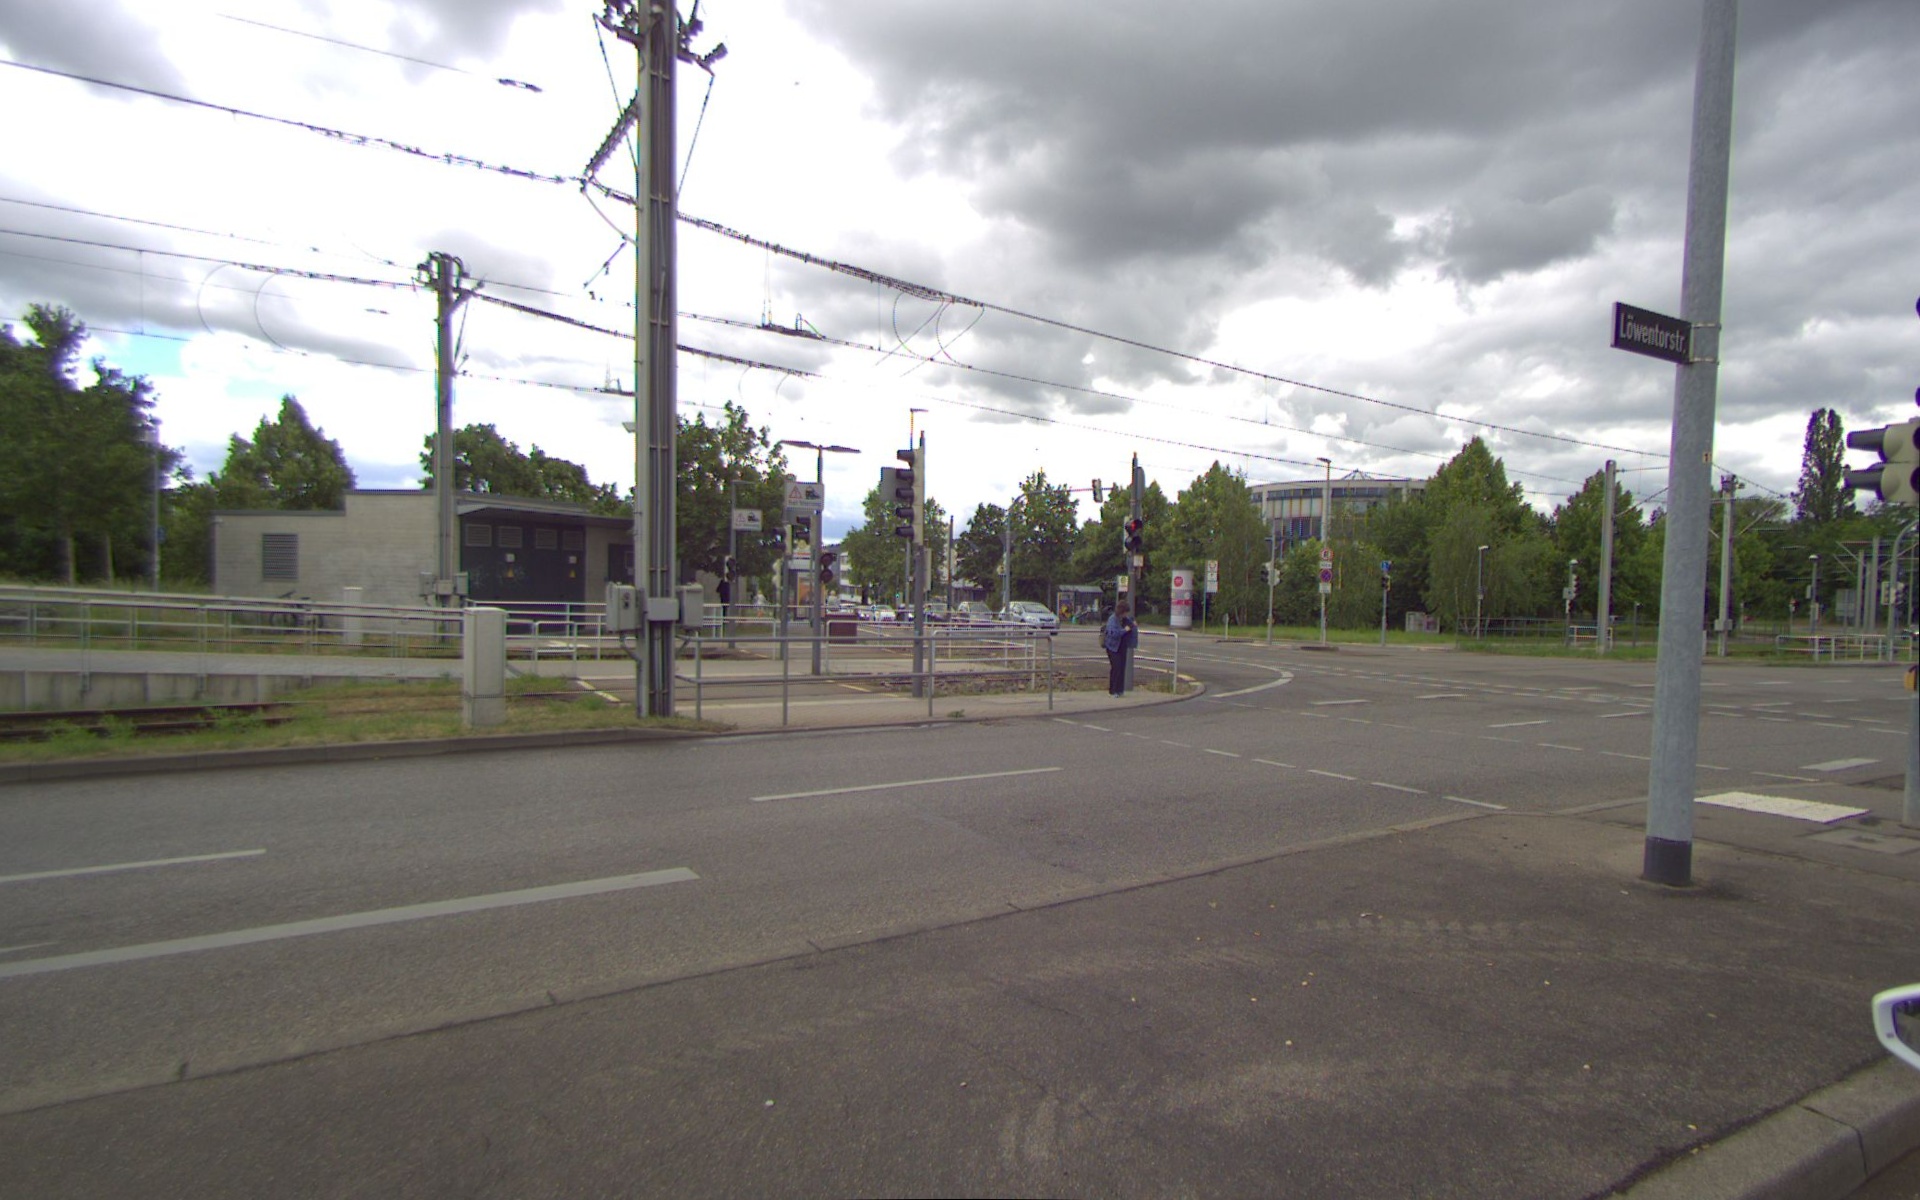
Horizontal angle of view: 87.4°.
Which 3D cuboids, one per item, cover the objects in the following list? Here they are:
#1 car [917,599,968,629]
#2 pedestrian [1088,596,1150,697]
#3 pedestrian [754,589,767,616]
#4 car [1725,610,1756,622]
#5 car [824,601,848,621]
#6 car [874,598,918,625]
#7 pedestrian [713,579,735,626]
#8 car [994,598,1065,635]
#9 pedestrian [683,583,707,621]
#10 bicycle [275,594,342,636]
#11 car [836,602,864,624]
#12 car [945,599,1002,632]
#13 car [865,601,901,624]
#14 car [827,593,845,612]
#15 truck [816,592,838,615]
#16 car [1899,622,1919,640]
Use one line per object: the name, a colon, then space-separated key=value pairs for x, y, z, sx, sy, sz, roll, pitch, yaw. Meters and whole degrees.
car: x=-1.060 y=0.762 z=58.049 sx=1.776 sy=1.617 sz=3.982 roll=2 pitch=0 yaw=-20
pedestrian: x=2.537 y=0.733 z=16.038 sx=0.712 sy=1.557 sz=0.630 roll=2 pitch=0 yaw=-33
pedestrian: x=-11.955 y=0.143 z=60.138 sx=0.633 sy=1.557 sz=0.521 roll=2 pitch=0 yaw=-2
car: x=116.175 y=2.400 z=149.529 sx=1.754 sy=1.625 sz=3.889 roll=2 pitch=0 yaw=4
car: x=-11.650 y=1.041 z=94.208 sx=1.869 sy=1.805 sz=3.990 roll=1 pitch=0 yaw=-13
car: x=-4.146 y=0.699 z=64.586 sx=1.776 sy=1.617 sz=3.982 roll=2 pitch=0 yaw=-20
pedestrian: x=-8.887 y=0.088 z=37.856 sx=0.700 sy=1.751 sz=0.674 roll=2 pitch=0 yaw=-19
car: x=3.199 y=0.734 z=46.908 sx=1.848 sy=1.617 sz=3.982 roll=2 pitch=0 yaw=-20
pedestrian: x=-9.773 y=0.087 z=37.031 sx=0.590 sy=1.377 sz=0.616 roll=2 pitch=0 yaw=18
bicycle: x=-17.355 y=0.397 z=26.746 sx=1.778 sy=1.045 sz=0.536 roll=2 pitch=0 yaw=21
car: x=-9.494 y=1.070 z=86.654 sx=1.869 sy=1.805 sz=3.988 roll=1 pitch=0 yaw=-14
car: x=0.670 y=0.795 z=53.875 sx=1.776 sy=1.617 sz=3.982 roll=2 pitch=0 yaw=-20
car: x=-5.760 y=0.927 z=74.909 sx=1.775 sy=1.617 sz=3.985 roll=2 pitch=0 yaw=-17
car: x=-14.608 y=0.291 z=118.120 sx=1.964 sy=2.218 sz=5.800 roll=1 pitch=0 yaw=-9
truck: x=-21.703 y=0.480 z=163.688 sx=2.963 sy=3.580 sz=9.264 roll=1 pitch=0 yaw=-11
car: x=90.427 y=2.958 z=94.516 sx=1.766 sy=1.608 sz=3.997 roll=2 pitch=0 yaw=24
